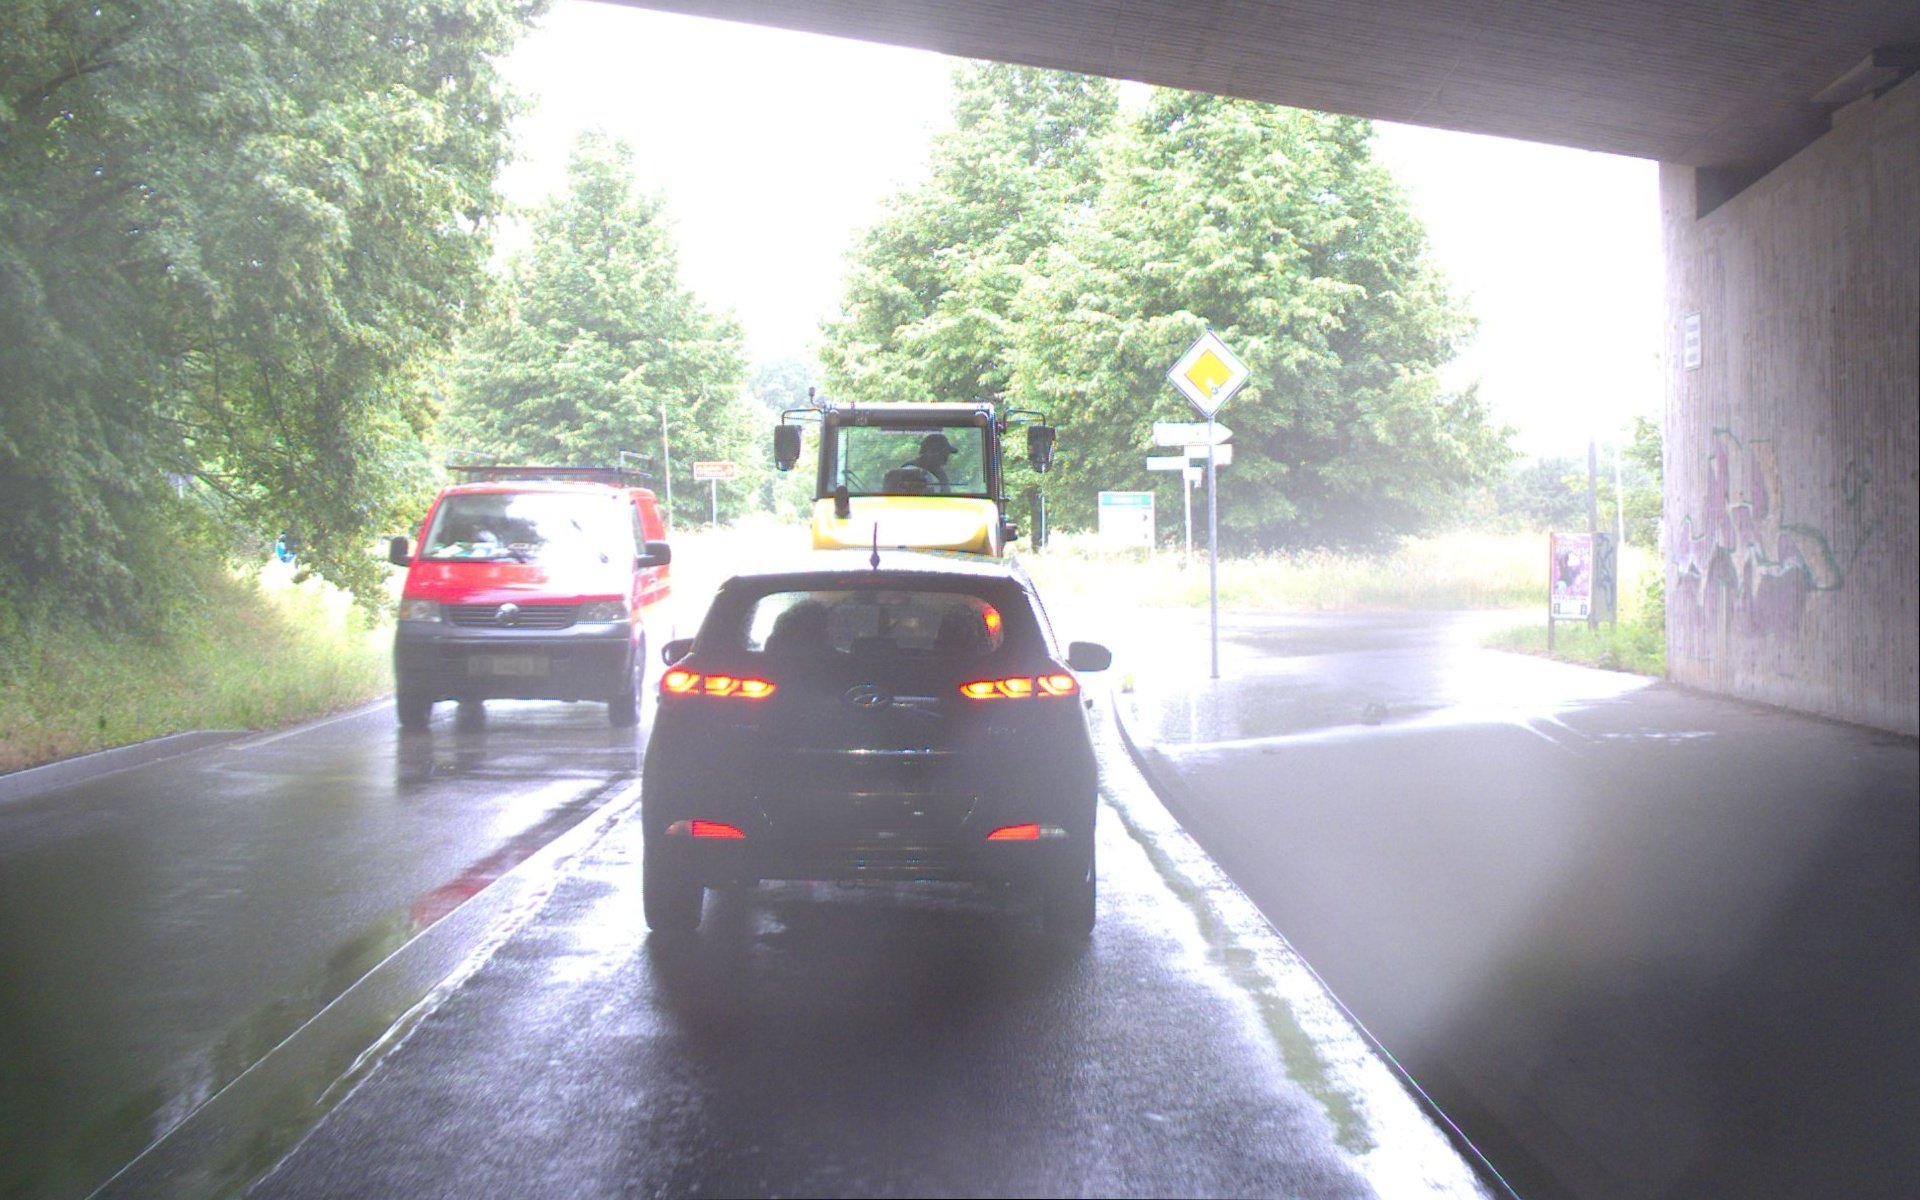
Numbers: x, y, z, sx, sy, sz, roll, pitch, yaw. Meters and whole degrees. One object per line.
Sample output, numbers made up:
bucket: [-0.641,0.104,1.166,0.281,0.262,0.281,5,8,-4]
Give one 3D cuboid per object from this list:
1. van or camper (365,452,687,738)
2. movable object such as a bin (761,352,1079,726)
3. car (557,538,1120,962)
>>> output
van or camper: [-3.420,-0.082,27.950,1.993,2.091,4.692,1,1,0]
movable object such as a bin: [-0.389,-0.501,28.106,2.245,2.660,6.627,1,1,-2]
car: [-0.573,0.508,14.319,1.993,1.482,4.001,1,1,-4]
